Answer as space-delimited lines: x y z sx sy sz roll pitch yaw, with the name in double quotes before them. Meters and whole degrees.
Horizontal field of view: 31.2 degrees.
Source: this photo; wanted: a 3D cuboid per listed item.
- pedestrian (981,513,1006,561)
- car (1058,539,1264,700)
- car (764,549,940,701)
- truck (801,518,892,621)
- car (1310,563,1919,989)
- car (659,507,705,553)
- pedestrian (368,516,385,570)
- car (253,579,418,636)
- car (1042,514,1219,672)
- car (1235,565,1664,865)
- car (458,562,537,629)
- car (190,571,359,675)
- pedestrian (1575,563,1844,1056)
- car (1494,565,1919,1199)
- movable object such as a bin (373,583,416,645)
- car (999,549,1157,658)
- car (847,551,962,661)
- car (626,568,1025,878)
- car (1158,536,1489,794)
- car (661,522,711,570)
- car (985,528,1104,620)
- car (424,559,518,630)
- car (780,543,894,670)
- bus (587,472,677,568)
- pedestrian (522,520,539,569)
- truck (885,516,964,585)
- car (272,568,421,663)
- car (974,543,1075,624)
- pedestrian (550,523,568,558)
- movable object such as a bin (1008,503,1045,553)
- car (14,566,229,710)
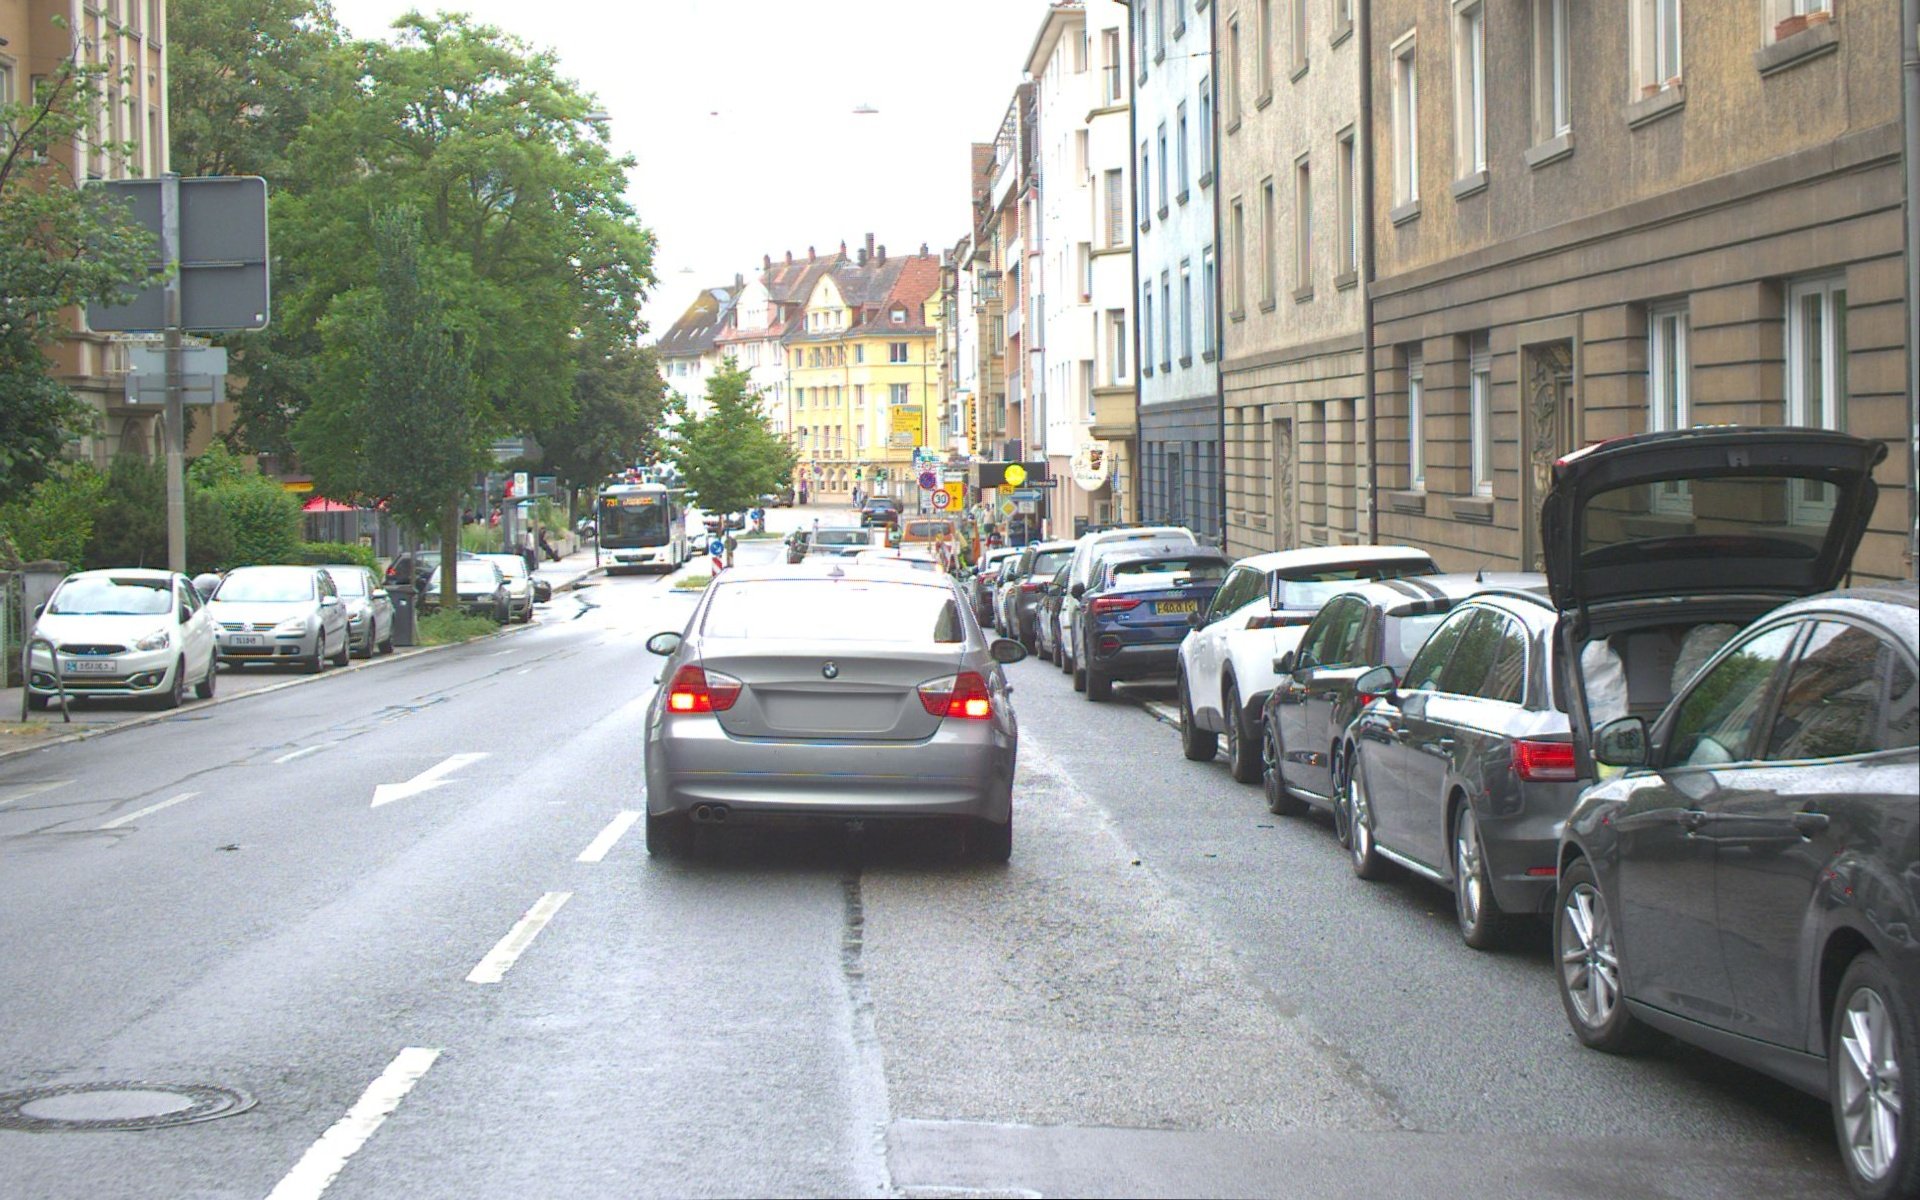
"pedestrian" 1.160 -2.197 120.572 0.750 1.655 0.754 2 0 6
"car" 2.072 0.155 36.498 1.790 1.543 4.226 -2 1 -1
"car" -1.136 0.239 34.824 1.601 1.415 3.288 2 0 -4
"truck" -2.999 -0.785 89.738 2.216 2.535 4.780 2 0 -3
"car" 2.722 0.612 14.453 1.777 1.474 4.588 -1 0 -3
"car" -13.201 -3.302 163.295 1.993 2.007 4.000 2 0 -3
"pedestrian" -19.507 -1.894 114.954 0.464 1.784 0.545 2 0 -8
"car" -15.531 0.183 85.632 3.815 1.385 1.743 0 0 -2
"car" 2.073 -0.120 42.850 1.790 1.811 4.080 -2 1 -2
"car" 2.651 0.570 19.416 1.632 1.473 3.735 2 0 -3
"car" -10.490 -0.118 78.149 1.631 1.449 3.840 0 1 -6
"car" -9.605 0.292 48.395 1.682 1.385 3.909 0 1 -1
"pedestrian" 2.726 0.748 12.563 0.630 1.685 0.635 -7 0 0
"car" 2.784 0.644 9.010 1.777 1.474 4.190 -1 0 -5
"movable object such as a bin" -9.775 0.244 59.423 0.630 1.054 0.600 -1 0 -2
"car" 1.648 0.014 49.470 1.840 1.404 4.388 -3 1 -3
"car" -0.724 0.079 46.053 1.435 1.352 3.762 2 0 0
"car" -0.649 0.549 16.868 1.756 1.358 3.165 1 0 -2
"car" 2.500 0.403 24.608 1.632 1.633 4.196 2 0 -3
"car" -11.769 -2.315 147.962 1.993 2.007 4.000 1 0 -3
"car" 1.425 -0.465 59.117 1.729 1.425 3.974 -3 1 -2
"car" -10.445 -0.143 73.637 1.653 1.449 3.943 -1 1 -3
"car" -2.103 0.103 58.040 1.705 2.007 4.000 2 0 -4
"bus" -12.058 -2.876 127.212 2.681 3.190 11.957 2 0 -3
"pedestrian" -15.153 -1.947 121.286 0.542 1.703 0.466 2 0 -8
"truck" -1.201 -1.641 114.163 2.215 2.109 4.653 3 0 -4
"car" -9.656 0.219 54.371 1.682 1.385 3.936 -2 1 -1
"car" 1.293 -0.361 70.694 1.818 1.552 4.293 -2 1 -1
"pedestrian" -16.003 -2.376 137.326 0.619 1.373 0.544 2 0 -1
"movable object such as a bin" 2.337 -2.537 121.315 1.122 1.697 1.434 -2 0 -4
"car" -9.252 0.400 38.193 1.645 1.503 3.797 0 0 -3
